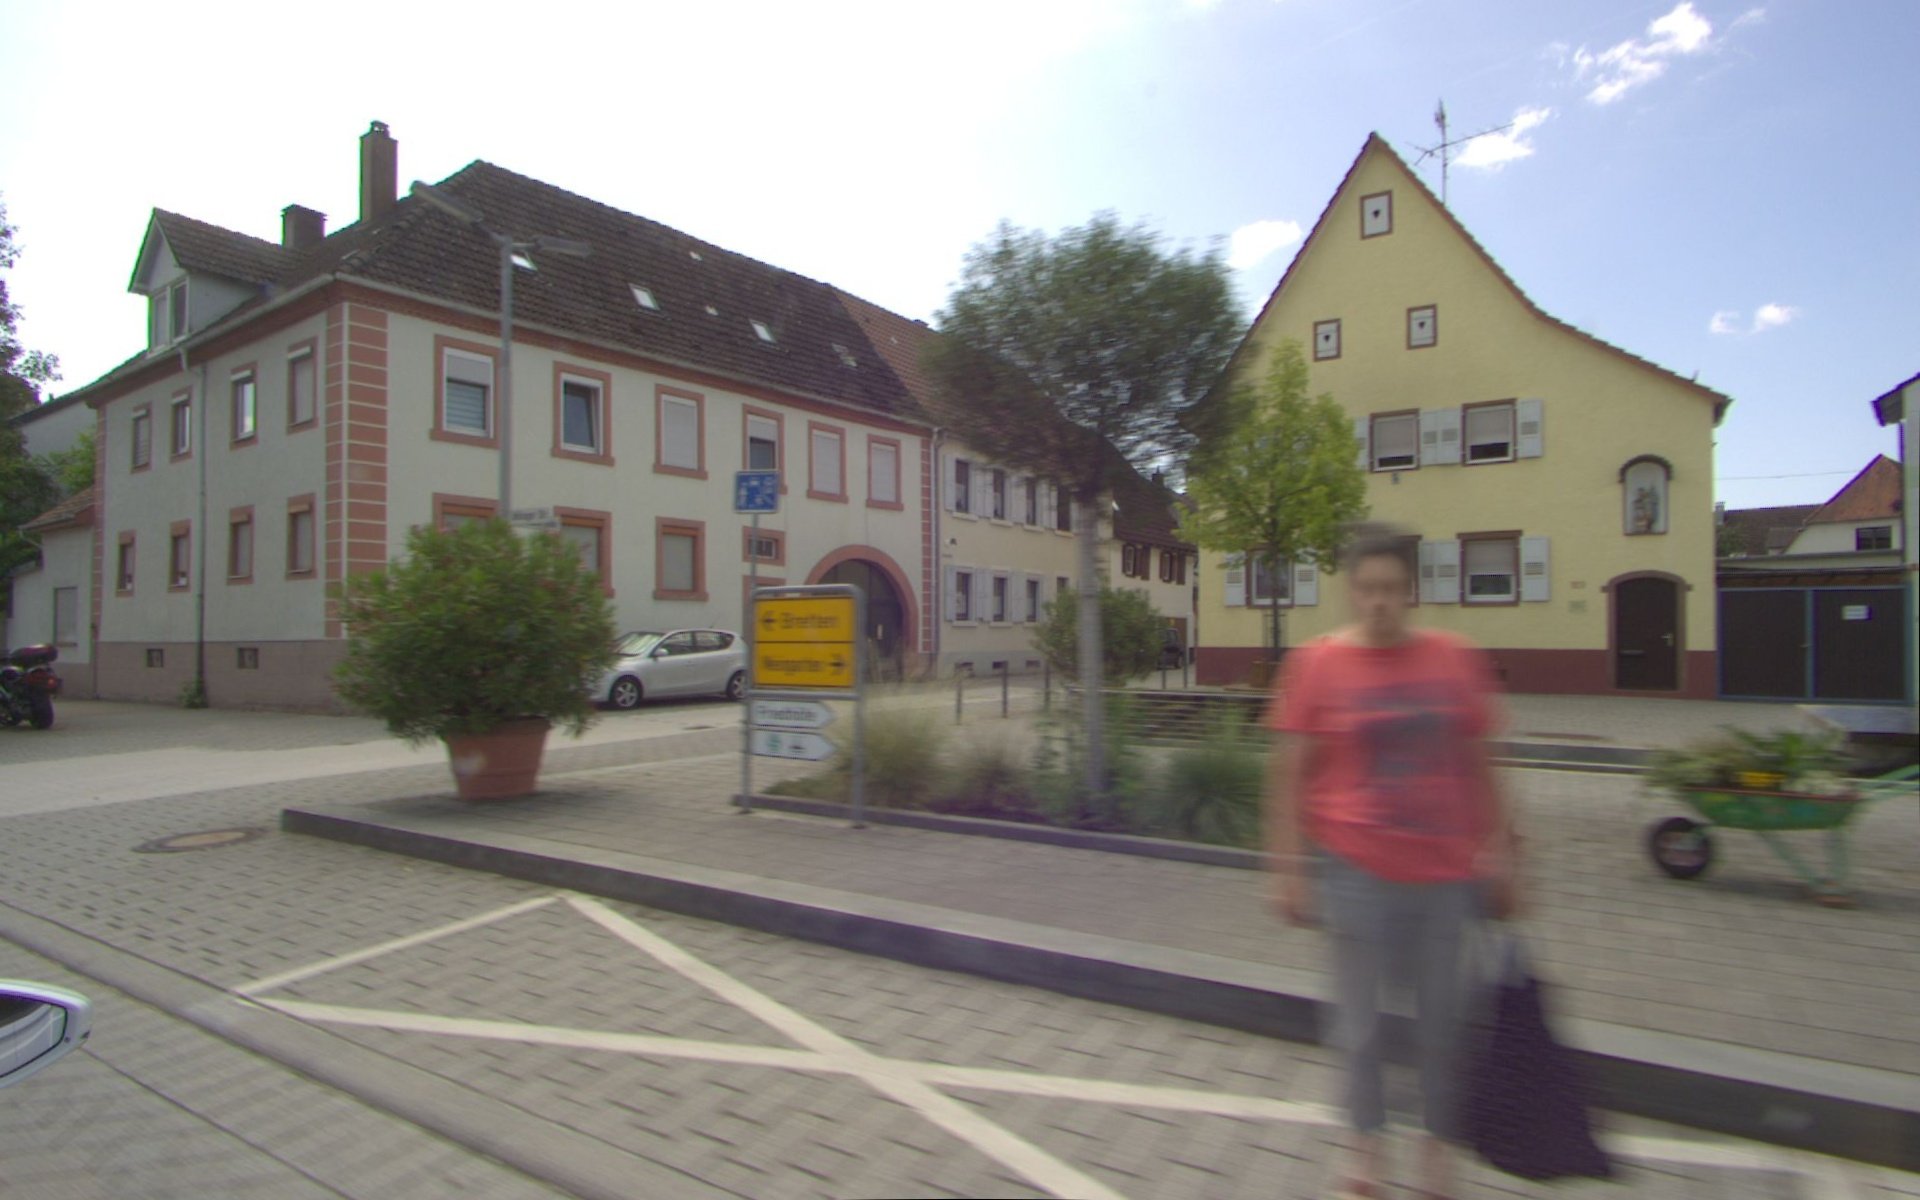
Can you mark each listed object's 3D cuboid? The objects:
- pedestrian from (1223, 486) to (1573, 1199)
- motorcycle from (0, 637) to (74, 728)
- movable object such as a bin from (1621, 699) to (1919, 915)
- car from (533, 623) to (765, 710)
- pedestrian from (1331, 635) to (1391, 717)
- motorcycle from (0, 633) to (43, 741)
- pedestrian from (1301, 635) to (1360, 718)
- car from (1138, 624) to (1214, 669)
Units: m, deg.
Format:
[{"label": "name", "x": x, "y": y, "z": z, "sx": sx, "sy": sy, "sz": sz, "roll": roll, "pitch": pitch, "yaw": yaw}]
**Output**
[{"label": "pedestrian", "x": 1.033, "y": 0.621, "z": 2.339, "sx": 0.612, "sy": 1.650, "sz": 0.637, "roll": -1, "pitch": -1, "yaw": 37}, {"label": "motorcycle", "x": -14.824, "y": 1.259, "z": 15.846, "sx": 2.201, "sy": 1.315, "sz": 0.954, "roll": -1, "pitch": 0, "yaw": 42}, {"label": "movable object such as a bin", "x": 4.110, "y": 0.965, "z": 4.903, "sx": 1.415, "sy": 0.877, "sz": 0.734, "roll": -1, "pitch": -2, "yaw": 32}, {"label": "car", "x": -5.900, "y": 1.213, "z": 19.343, "sx": 1.803, "sy": 1.492, "sz": 3.977, "roll": -1, "pitch": -2, "yaw": 39}, {"label": "pedestrian", "x": 6.565, "y": 1.230, "z": 16.415, "sx": 0.527, "sy": 1.301, "sz": 0.789, "roll": -1, "pitch": -1, "yaw": -16}, {"label": "motorcycle", "x": -13.700, "y": 1.142, "z": 13.220, "sx": 2.184, "sy": 1.412, "sz": 0.872, "roll": 0, "pitch": -1, "yaw": -13}, {"label": "pedestrian", "x": 5.991, "y": 1.226, "z": 16.212, "sx": 0.603, "sy": 1.301, "sz": 0.671, "roll": -1, "pitch": -1, "yaw": -16}, {"label": "car", "x": 8.476, "y": 1.756, "z": 39.103, "sx": 1.585, "sy": 1.640, "sz": 3.652, "roll": 1, "pitch": -1, "yaw": 35}]
